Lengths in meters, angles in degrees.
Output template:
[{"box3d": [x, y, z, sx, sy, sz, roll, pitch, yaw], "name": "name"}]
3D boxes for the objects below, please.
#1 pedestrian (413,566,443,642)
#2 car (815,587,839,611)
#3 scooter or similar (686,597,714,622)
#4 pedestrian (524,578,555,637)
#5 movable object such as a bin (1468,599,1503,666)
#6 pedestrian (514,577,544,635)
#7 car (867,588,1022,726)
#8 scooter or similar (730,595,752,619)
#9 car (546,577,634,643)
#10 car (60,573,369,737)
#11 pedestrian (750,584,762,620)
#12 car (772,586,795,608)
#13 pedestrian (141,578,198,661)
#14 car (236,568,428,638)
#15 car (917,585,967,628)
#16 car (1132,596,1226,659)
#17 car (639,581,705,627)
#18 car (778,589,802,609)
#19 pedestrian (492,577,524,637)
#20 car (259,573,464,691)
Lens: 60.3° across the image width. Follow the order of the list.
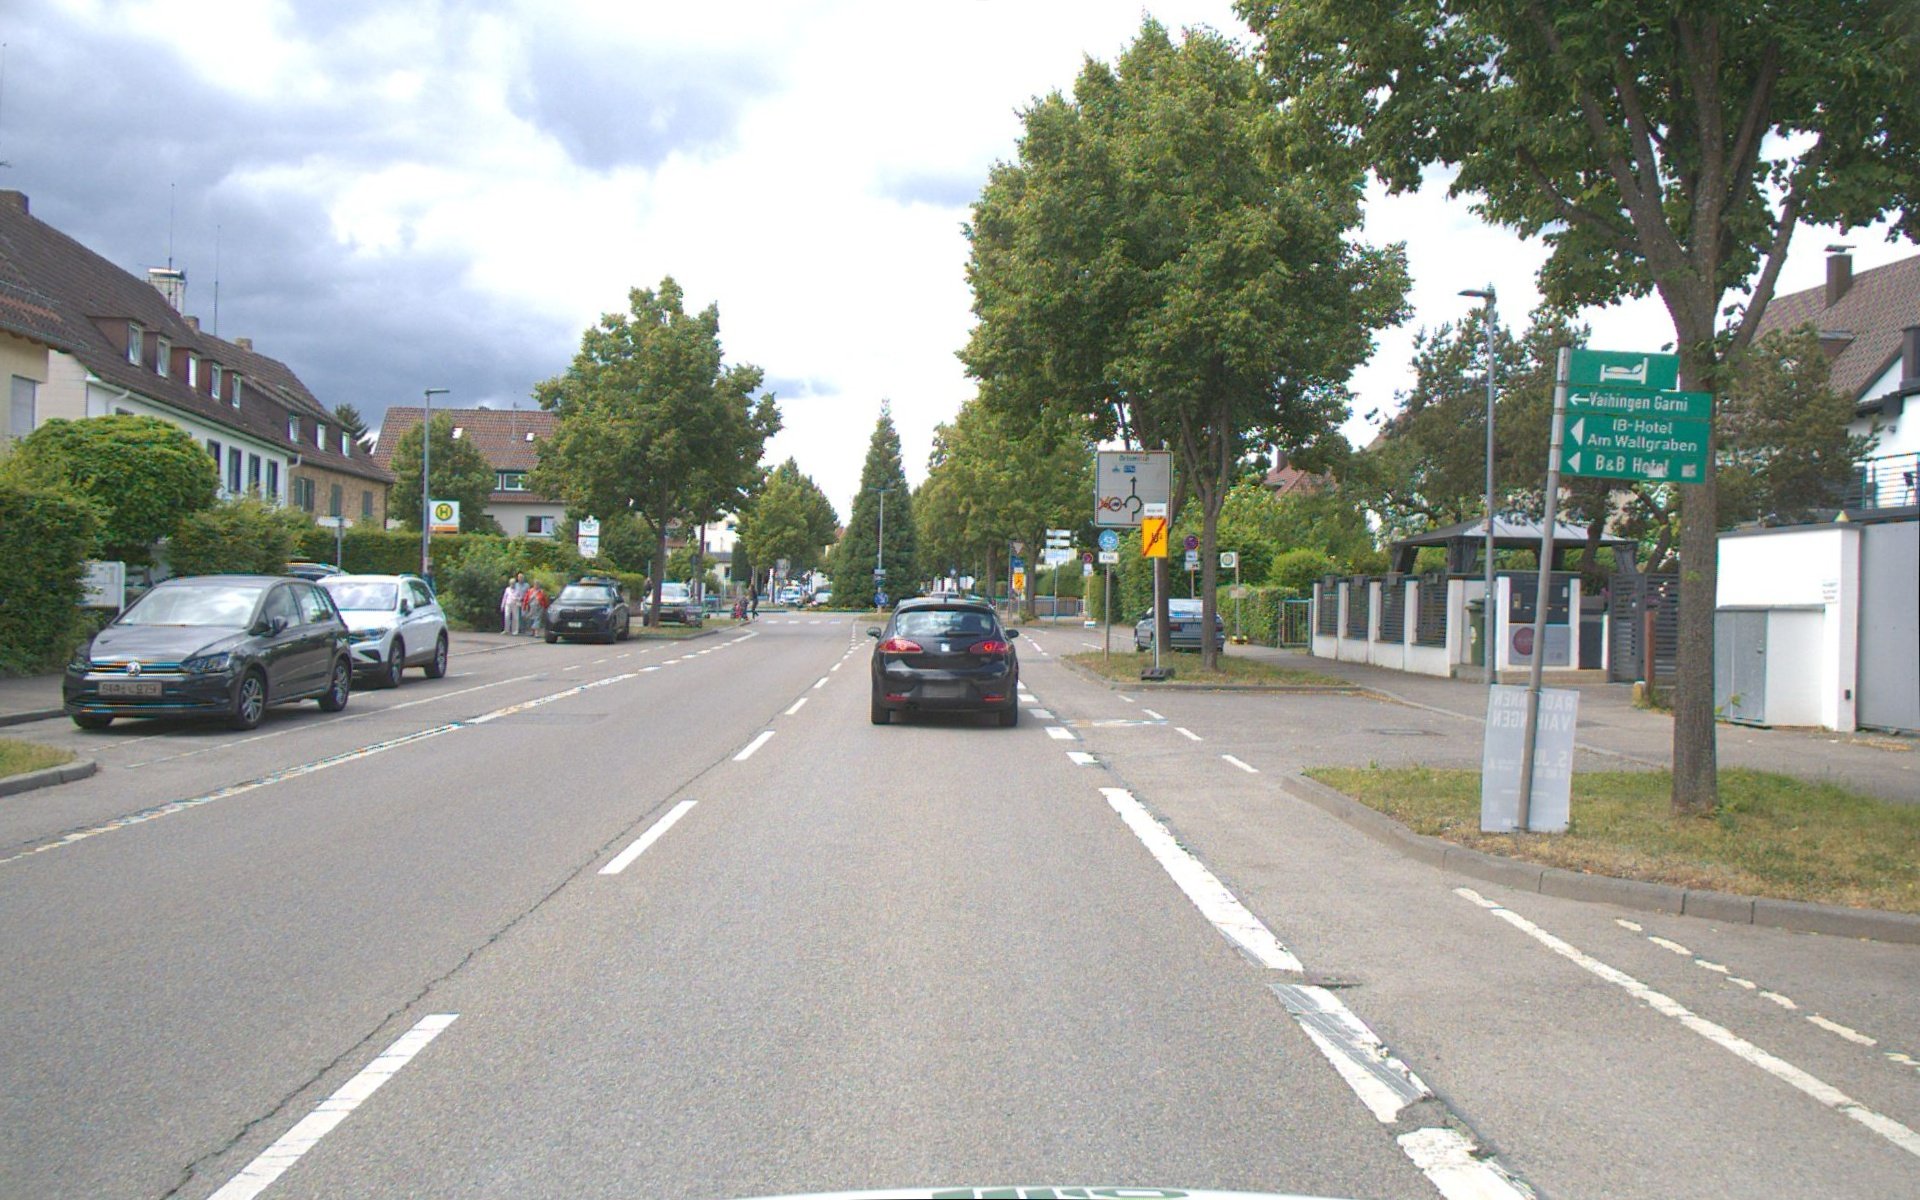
[{"box3d": [-13.066, 0.105, 40.622, 0.493, 1.837, 0.671, 1, 0, -2], "name": "pedestrian"}, {"box3d": [-9.412, -0.062, 117.437, 1.537, 1.663, 3.620, 1, 0, -2], "name": "car"}, {"box3d": [-11.923, 0.444, 75.823, 1.272, 1.158, 0.343, 0, 0, -34], "name": "scooter or similar"}, {"box3d": [-12.156, 0.209, 47.854, 0.772, 1.692, 0.753, 1, 0, -9], "name": "pedestrian"}, {"box3d": [8.888, 0.548, 27.982, 0.427, 1.129, 0.454, 0, 0, -1], "name": "movable object such as a bin"}, {"box3d": [-12.728, 0.177, 48.859, 0.772, 1.692, 0.590, 1, 0, -9], "name": "pedestrian"}, {"box3d": [-0.135, 0.628, 20.288, 1.696, 1.512, 4.000, 1, 0, 1], "name": "car"}, {"box3d": [-10.325, 0.332, 77.983, 0.946, 1.114, 0.407, 3, -1, 5], "name": "scooter or similar"}, {"box3d": [-10.403, 0.262, 46.788, 1.690, 1.755, 4.562, 1, 0, -3], "name": "car"}, {"box3d": [-8.026, 0.527, 18.264, 1.643, 1.579, 4.270, 1, 0, -3], "name": "car"}, {"box3d": [-9.613, 0.092, 78.036, 0.505, 1.699, 0.481, 1, 0, -14], "name": "pedestrian"}, {"box3d": [-16.943, -0.303, 158.799, 1.990, 2.005, 3.997, 0, 0, -4], "name": "car"}, {"box3d": [-15.226, 0.366, 31.877, 0.656, 1.588, 0.836, 0, 0, 4], "name": "pedestrian"}, {"box3d": [-15.950, 0.088, 42.267, 4.444, 1.581, 2.025, 2, 0, -19], "name": "car"}, {"box3d": [-0.723, 0.260, 67.042, 1.953, 1.641, 3.999, 1, 0, -1], "name": "car"}, {"box3d": [5.177, 0.662, 39.543, 1.579, 1.401, 4.385, 1, -1, -1], "name": "car"}, {"box3d": [-10.994, 0.144, 63.388, 1.823, 1.682, 4.293, 1, 0, -1], "name": "car"}, {"box3d": [-14.444, -0.086, 140.721, 1.762, 1.629, 3.998, 0, 0, -3], "name": "car"}, {"box3d": [-12.963, 0.190, 47.448, 0.772, 1.692, 0.880, 1, 0, -9], "name": "pedestrian"}, {"box3d": [-9.099, 0.439, 25.537, 1.785, 1.662, 4.582, 0, 0, -4], "name": "car"}]
